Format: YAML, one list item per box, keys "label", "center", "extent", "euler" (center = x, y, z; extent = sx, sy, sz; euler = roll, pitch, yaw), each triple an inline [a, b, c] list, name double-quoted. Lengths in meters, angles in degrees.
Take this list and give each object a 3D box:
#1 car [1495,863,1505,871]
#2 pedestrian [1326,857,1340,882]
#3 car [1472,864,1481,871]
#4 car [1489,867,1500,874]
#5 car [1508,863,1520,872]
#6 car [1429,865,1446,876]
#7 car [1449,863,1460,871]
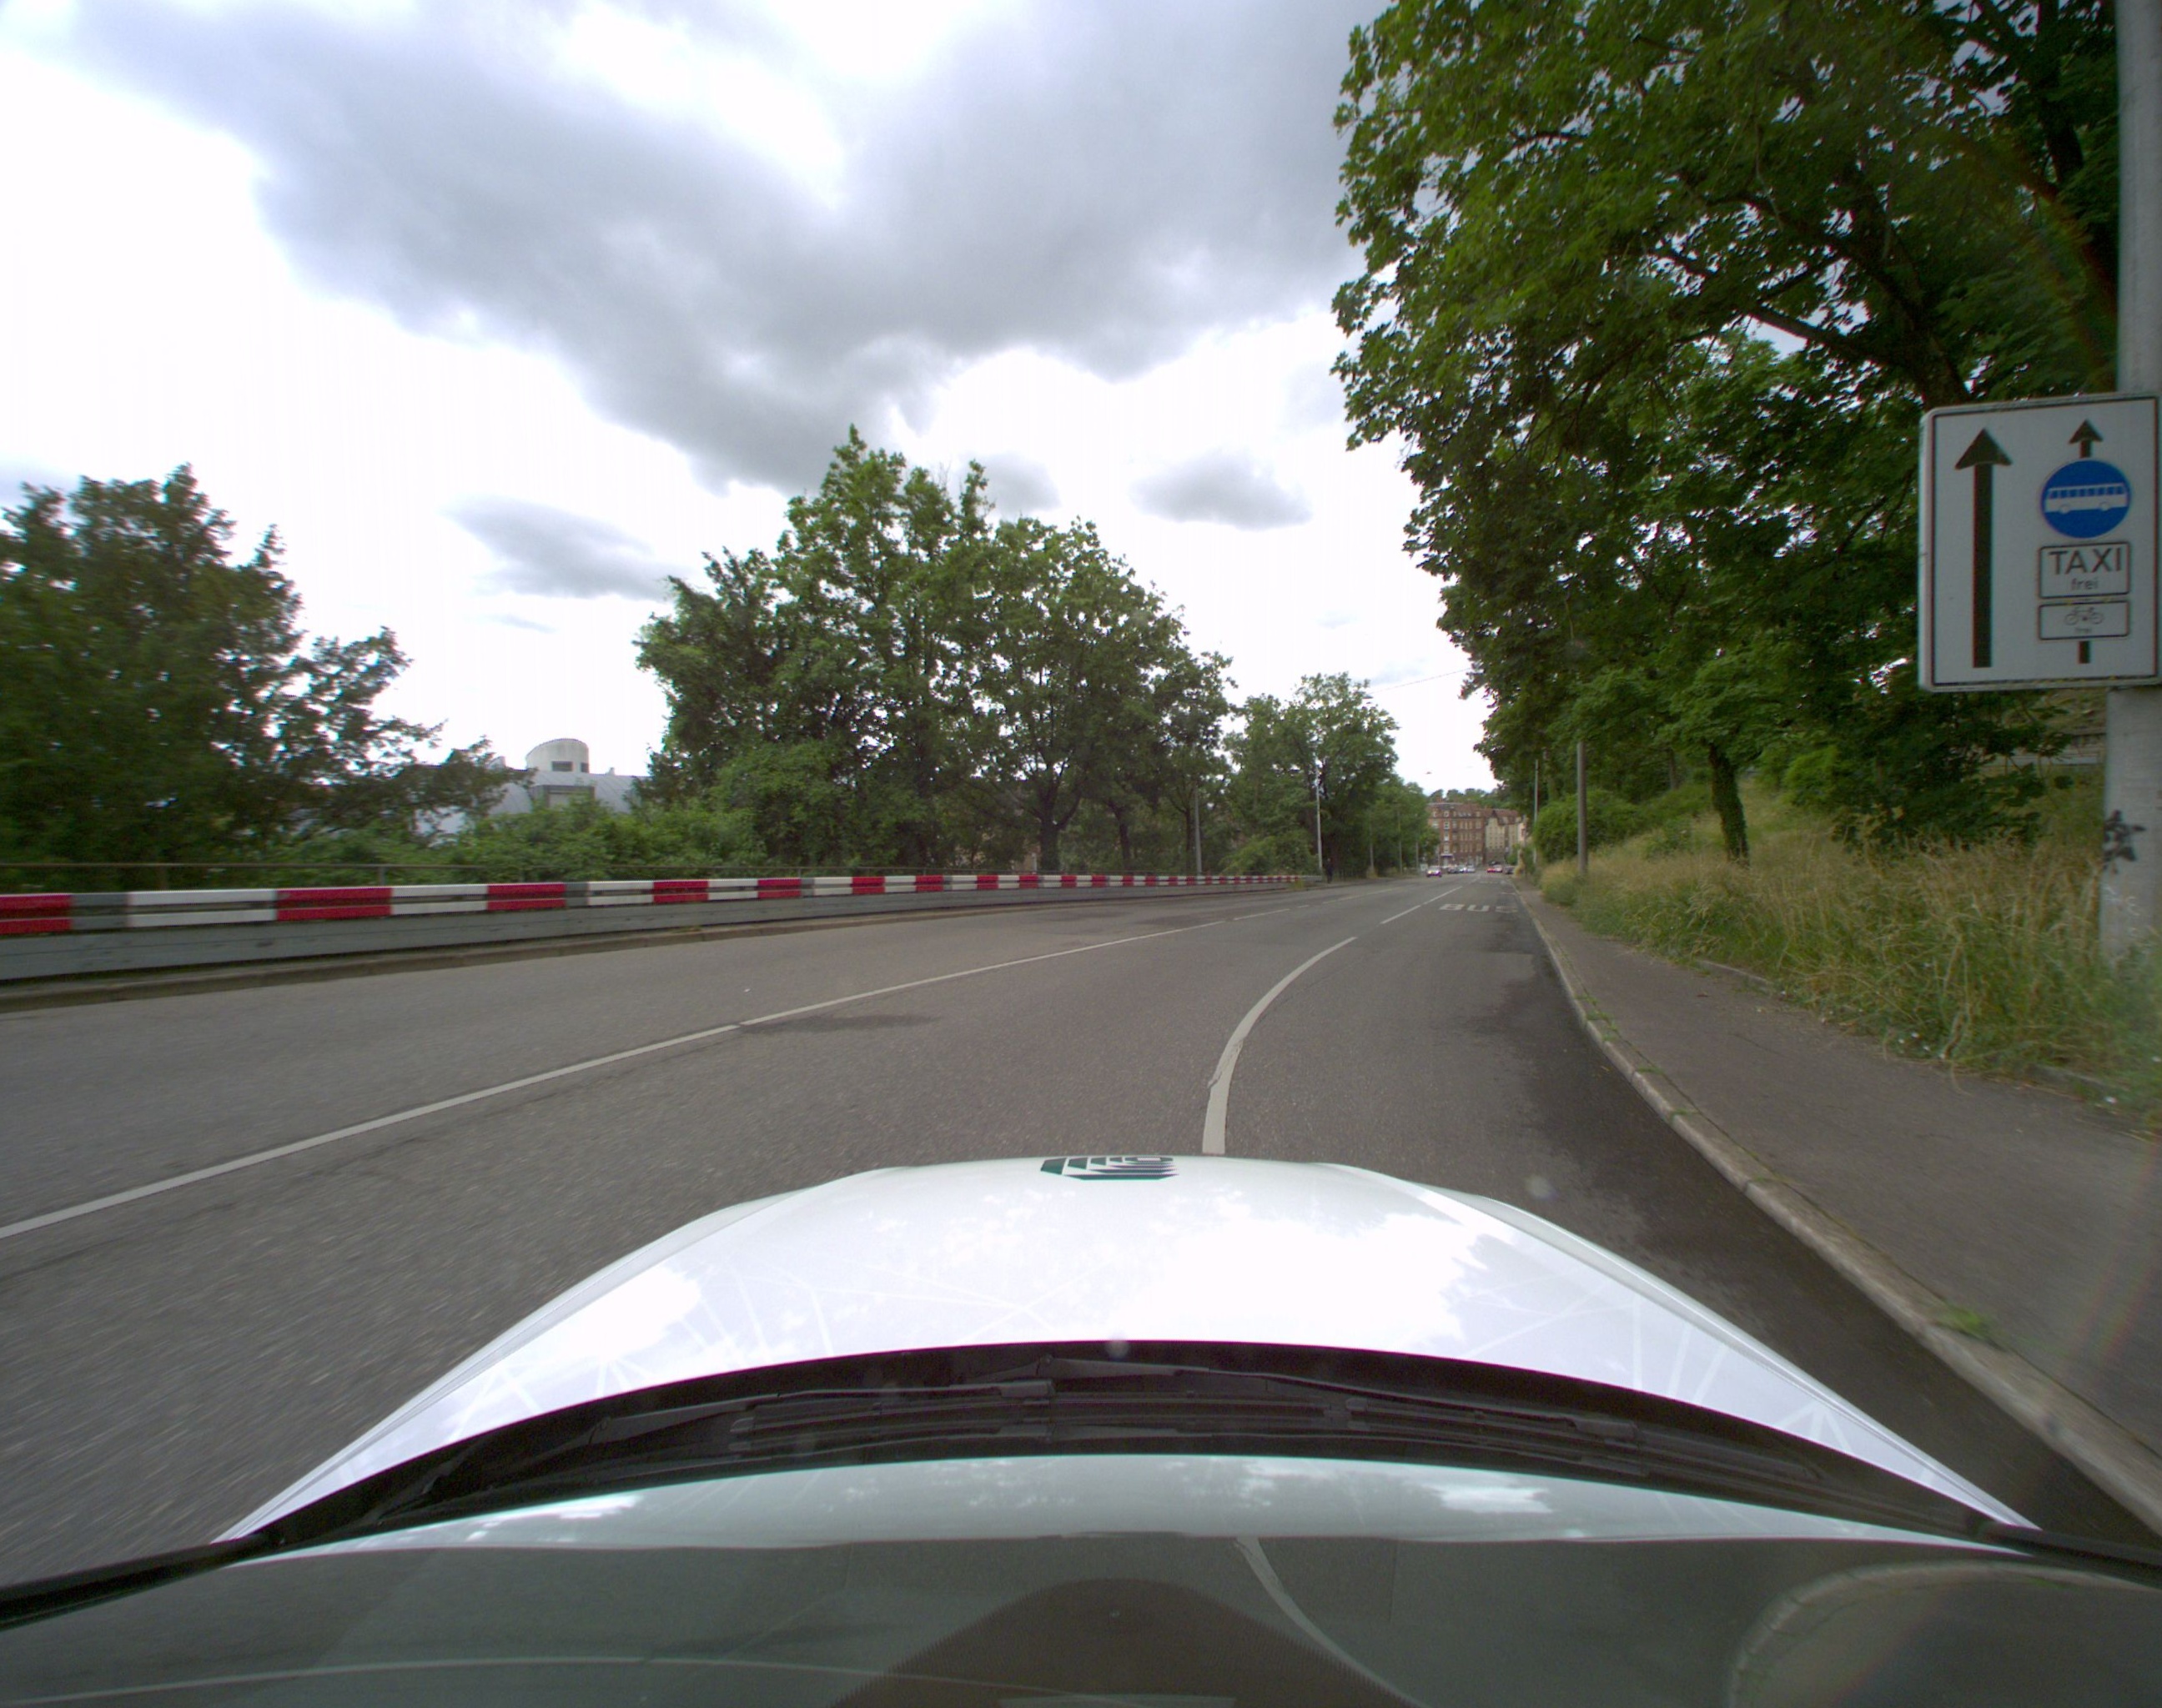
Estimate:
- label: "car"
  center: [103.314, 3.133, 200.927]
  extent: [1.891, 1.884, 4.025]
  euler: [1, -1, 32]
- label: "pedestrian"
  center: [18.348, 1.109, 59.259]
  extent: [0.781, 1.774, 1.216]
  euler: [3, 0, 25]
- label: "car"
  center: [94.837, 3.309, 195.377]
  extent: [1.767, 1.575, 4.306]
  euler: [-2, -2, 27]
- label: "car"
  center: [97.426, 3.874, 191.886]
  extent: [1.799, 1.430, 4.025]
  euler: [1, 0, 32]
- label: "car"
  center: [74.481, 2.301, 140.101]
  extent: [1.665, 1.451, 4.023]
  euler: [-5, -4, 28]
- label: "car"
  center: [47.774, 2.174, 109.111]
  extent: [1.777, 1.427, 4.168]
  euler: [-1, -1, 28]
- label: "car"
  center: [68.069, 2.427, 148.378]
  extent: [1.653, 1.447, 3.710]
  euler: [-2, -2, 28]
